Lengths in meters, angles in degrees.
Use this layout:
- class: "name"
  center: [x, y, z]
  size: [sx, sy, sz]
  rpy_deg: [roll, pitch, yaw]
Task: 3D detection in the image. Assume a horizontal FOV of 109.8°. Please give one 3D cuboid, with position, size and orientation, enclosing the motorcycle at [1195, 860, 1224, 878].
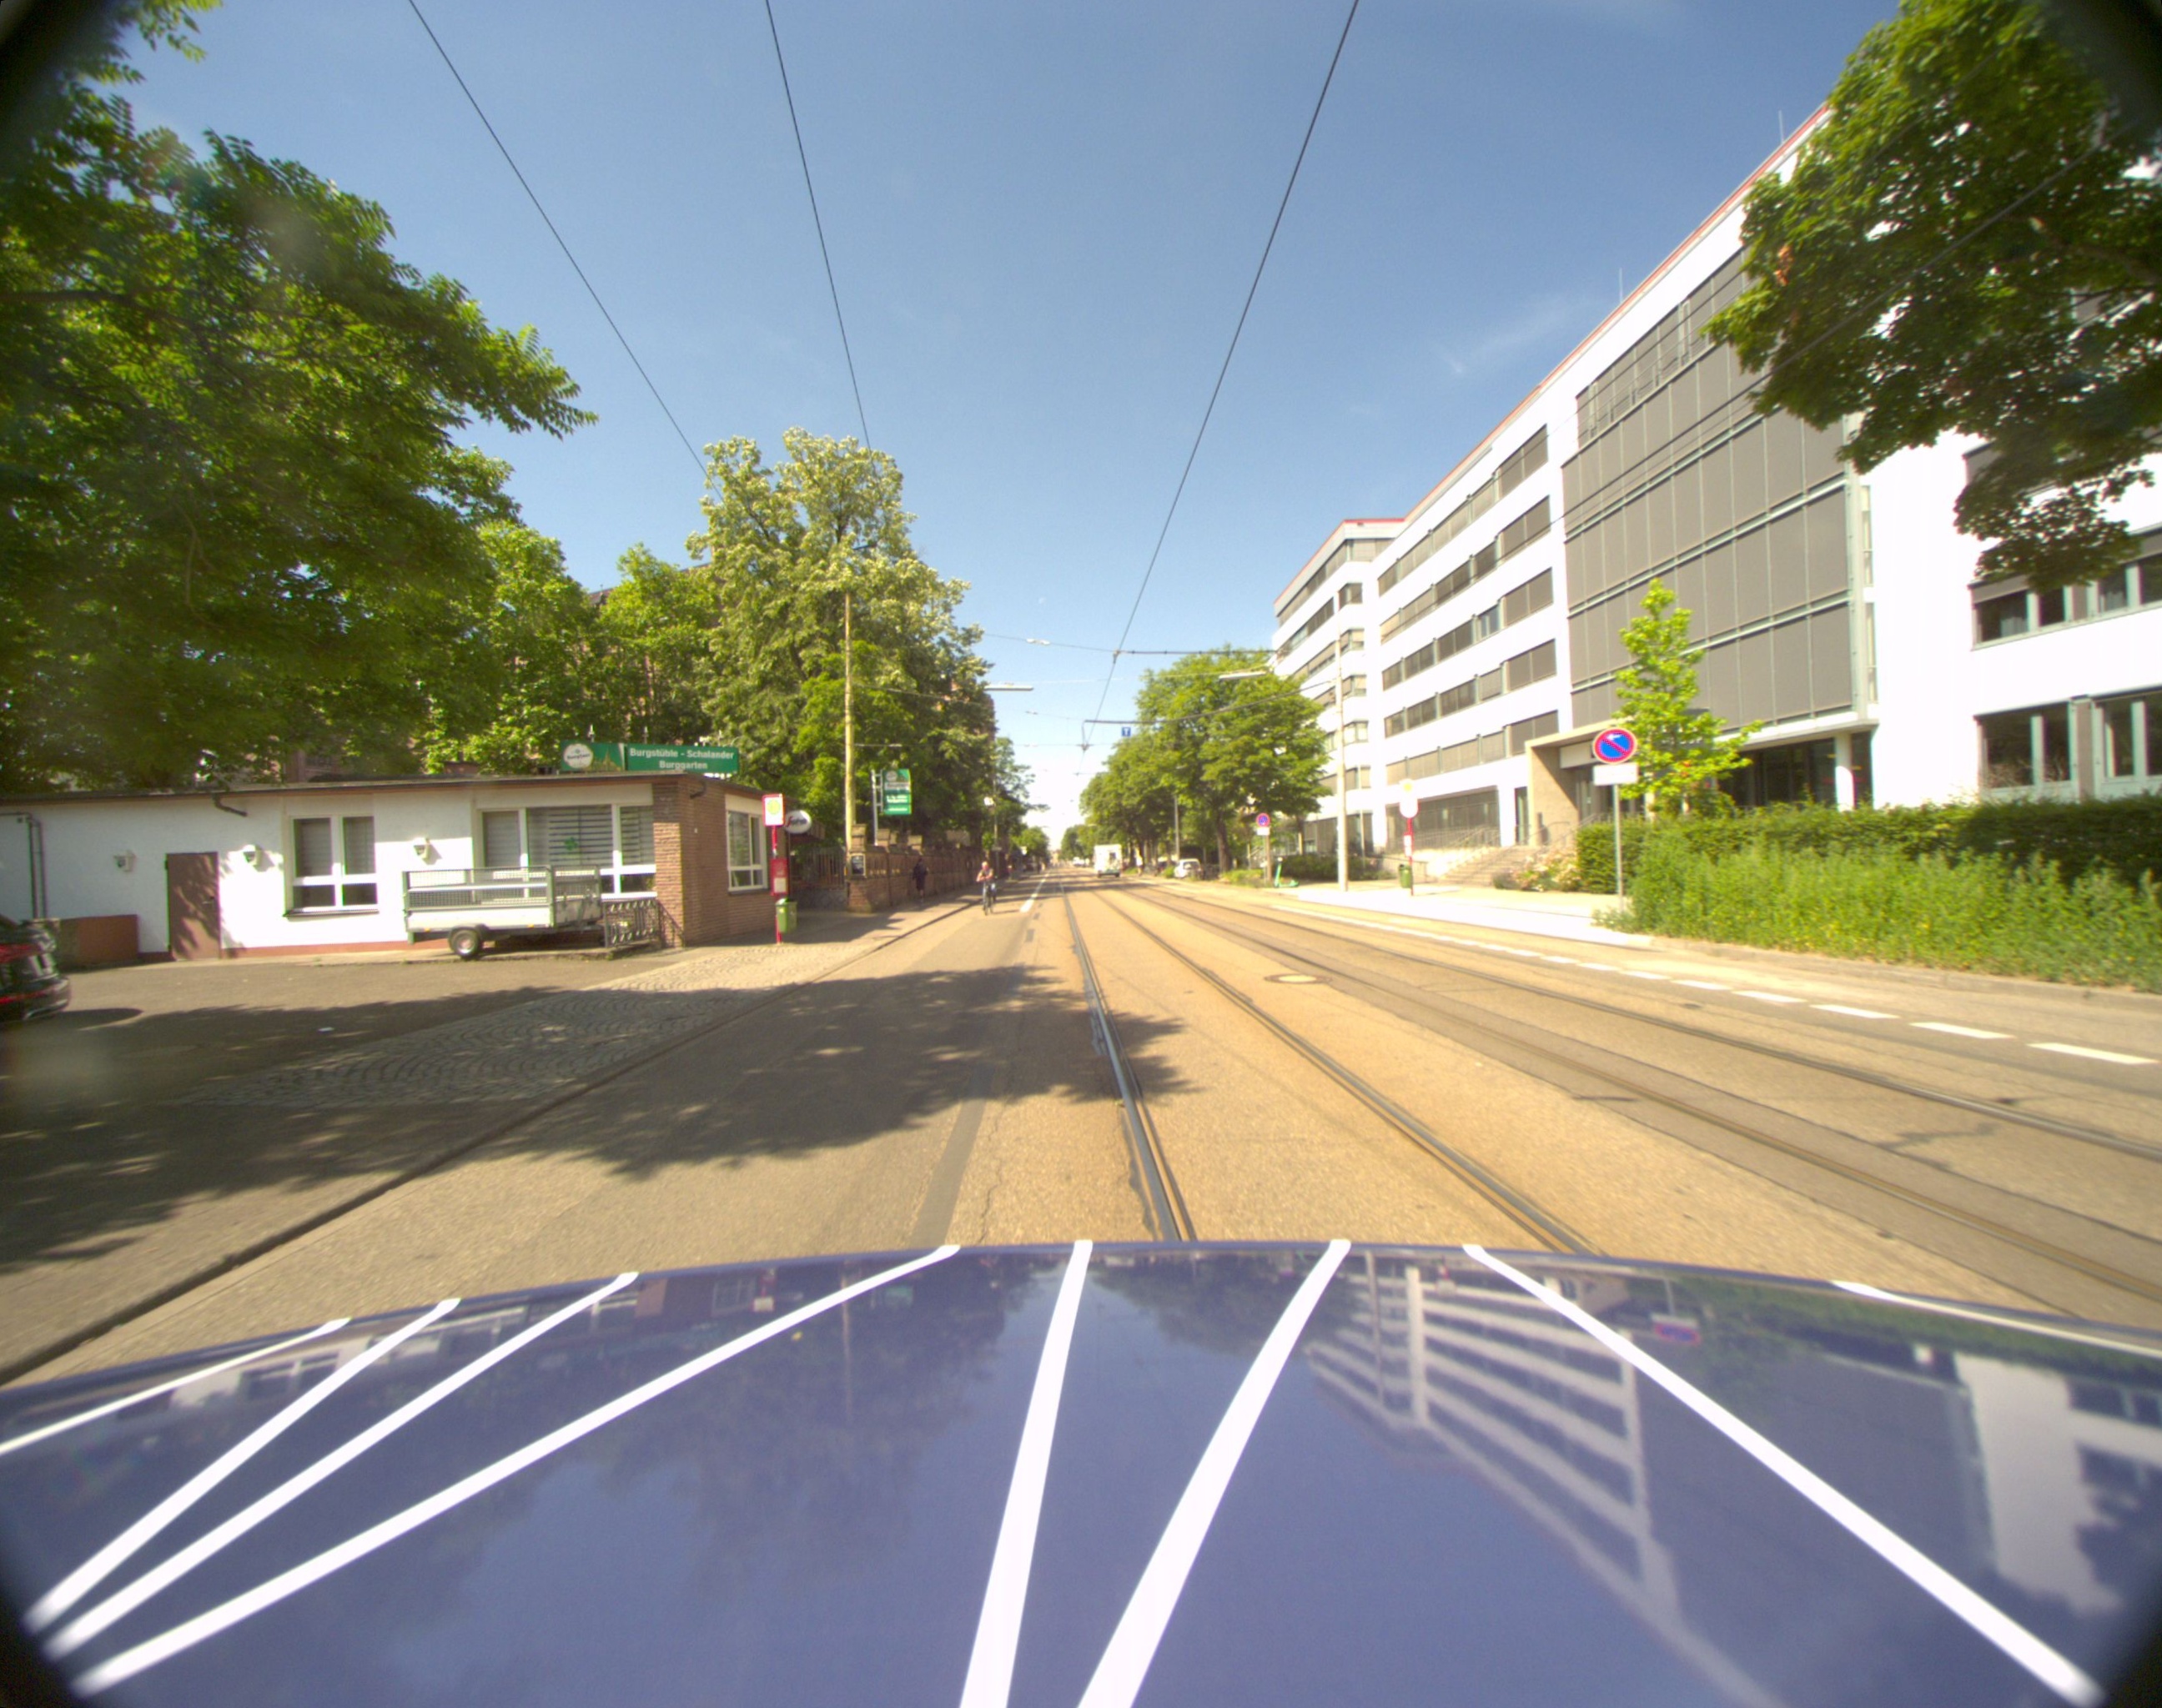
- class: "motorcycle"
  center: [8.319, 0.943, 49.122]
  size: [1.729, 1.080, 0.658]
  rpy_deg: [-2, 0, -2]

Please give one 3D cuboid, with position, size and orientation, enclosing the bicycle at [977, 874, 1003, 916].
- class: "bicycle"
  center: [-2.954, 1.311, 24.852]
  size: [0.611, 1.190, 2.122]
  rpy_deg: [-5, 0, -3]

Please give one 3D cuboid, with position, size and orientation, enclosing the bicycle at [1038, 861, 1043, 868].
- class: "bicycle"
  center: [-6.494, 1.677, 122.107]
  size: [0.593, 1.099, 2.054]
  rpy_deg: [-2, 0, -1]

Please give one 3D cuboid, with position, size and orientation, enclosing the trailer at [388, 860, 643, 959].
- class: "trailer"
  center: [-10.083, 0.948, 13.747]
  size: [3.282, 1.594, 1.723]
  rpy_deg: [-1, 0, 0]

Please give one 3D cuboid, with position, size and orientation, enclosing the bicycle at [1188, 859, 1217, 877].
- class: "bicycle"
  center: [8.302, 0.958, 51.938]
  size: [1.854, 1.125, 0.680]
  rpy_deg: [-2, 0, -2]

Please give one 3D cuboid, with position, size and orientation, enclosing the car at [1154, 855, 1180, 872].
- class: "car"
  center: [7.848, 0.827, 69.783]
  size: [1.634, 1.474, 4.272]
  rpy_deg: [-2, 0, -4]

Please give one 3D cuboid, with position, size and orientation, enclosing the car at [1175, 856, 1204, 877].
- class: "car"
  center: [8.156, 0.918, 57.457]
  size: [1.634, 1.463, 3.630]
  rpy_deg: [-2, 0, 0]

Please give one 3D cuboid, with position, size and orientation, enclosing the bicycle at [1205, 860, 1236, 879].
- class: "bicycle"
  center: [8.593, 0.945, 46.917]
  size: [1.729, 1.080, 0.789]
  rpy_deg: [-2, 0, -2]

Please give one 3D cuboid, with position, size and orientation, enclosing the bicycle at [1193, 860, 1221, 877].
- class: "bicycle"
  center: [8.383, 0.953, 50.524]
  size: [1.729, 1.080, 0.639]
  rpy_deg: [-2, 0, -2]

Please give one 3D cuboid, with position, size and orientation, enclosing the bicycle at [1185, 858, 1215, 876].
- class: "bicycle"
  center: [8.310, 0.891, 53.263]
  size: [1.909, 1.162, 0.819]
  rpy_deg: [-2, 0, -2]

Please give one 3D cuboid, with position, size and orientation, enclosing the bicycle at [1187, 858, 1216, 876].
- class: "bicycle"
  center: [8.344, 0.909, 52.617]
  size: [1.878, 1.135, 0.686]
  rpy_deg: [-2, 0, -2]

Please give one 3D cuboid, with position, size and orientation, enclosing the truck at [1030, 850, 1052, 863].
- class: "truck"
  center: [-12.332, 0.740, 236.780]
  size: [2.816, 3.836, 10.015]
  rpy_deg: [-2, 0, 21]

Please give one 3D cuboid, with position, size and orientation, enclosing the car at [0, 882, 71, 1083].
- class: "car"
  center: [-11.094, 1.119, 5.294]
  size: [2.014, 1.631, 4.669]
  rpy_deg: [-2, 0, 43]

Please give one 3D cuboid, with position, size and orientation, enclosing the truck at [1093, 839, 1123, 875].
- class: "truck"
  center: [2.449, 0.275, 70.675]
  size: [2.409, 3.090, 6.036]
  rpy_deg: [-2, 0, -1]

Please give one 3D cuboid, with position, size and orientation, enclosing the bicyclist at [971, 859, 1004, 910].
- class: "bicyclist"
  center: [-3.000, 0.972, 24.560]
  size: [0.906, 1.586, 0.964]
  rpy_deg: [-2, 0, -2]

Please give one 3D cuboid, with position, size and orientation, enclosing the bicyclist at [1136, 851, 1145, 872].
- class: "bicyclist"
  center: [5.383, 0.632, 68.495]
  size: [0.637, 1.860, 1.024]
  rpy_deg: [-2, 0, -2]

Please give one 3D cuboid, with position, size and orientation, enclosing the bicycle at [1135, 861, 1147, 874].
- class: "bicycle"
  center: [5.416, 1.191, 68.549]
  size: [0.858, 1.103, 2.139]
  rpy_deg: [-2, 0, -2]

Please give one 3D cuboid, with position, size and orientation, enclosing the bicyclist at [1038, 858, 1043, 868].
- class: "bicyclist"
  center: [-6.512, 1.413, 121.994]
  size: [0.742, 1.522, 0.947]
  rpy_deg: [-1, 0, -1]

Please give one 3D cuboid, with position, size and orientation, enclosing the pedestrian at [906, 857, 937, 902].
- class: "pedestrian"
  center: [-6.637, 1.038, 31.681]
  size: [0.979, 1.805, 1.185]
  rpy_deg: [2, 0, -1]

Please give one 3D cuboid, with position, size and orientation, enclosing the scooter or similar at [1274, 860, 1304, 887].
- class: "scooter or similar"
  center: [9.190, 0.859, 33.618]
  size: [1.128, 1.159, 0.676]
  rpy_deg: [-2, 1, 1]

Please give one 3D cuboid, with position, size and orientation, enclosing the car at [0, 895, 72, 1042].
- class: "car"
  center: [-12.964, 1.247, 7.132]
  size: [1.842, 1.465, 4.008]
  rpy_deg: [-1, 0, 43]

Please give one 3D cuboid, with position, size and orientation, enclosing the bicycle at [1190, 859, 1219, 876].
- class: "bicycle"
  center: [8.342, 0.884, 51.409]
  size: [1.797, 1.080, 0.726]
  rpy_deg: [-2, 0, -2]

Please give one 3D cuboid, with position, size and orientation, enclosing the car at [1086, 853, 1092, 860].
- class: "car"
  center: [2.364, 0.640, 224.228]
  size: [1.634, 1.936, 4.113]
  rpy_deg: [-2, 0, -1]

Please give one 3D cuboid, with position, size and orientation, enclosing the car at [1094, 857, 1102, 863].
- class: "car"
  center: [4.074, 1.497, 183.212]
  size: [1.634, 1.463, 4.113]
  rpy_deg: [-2, 0, -1]
